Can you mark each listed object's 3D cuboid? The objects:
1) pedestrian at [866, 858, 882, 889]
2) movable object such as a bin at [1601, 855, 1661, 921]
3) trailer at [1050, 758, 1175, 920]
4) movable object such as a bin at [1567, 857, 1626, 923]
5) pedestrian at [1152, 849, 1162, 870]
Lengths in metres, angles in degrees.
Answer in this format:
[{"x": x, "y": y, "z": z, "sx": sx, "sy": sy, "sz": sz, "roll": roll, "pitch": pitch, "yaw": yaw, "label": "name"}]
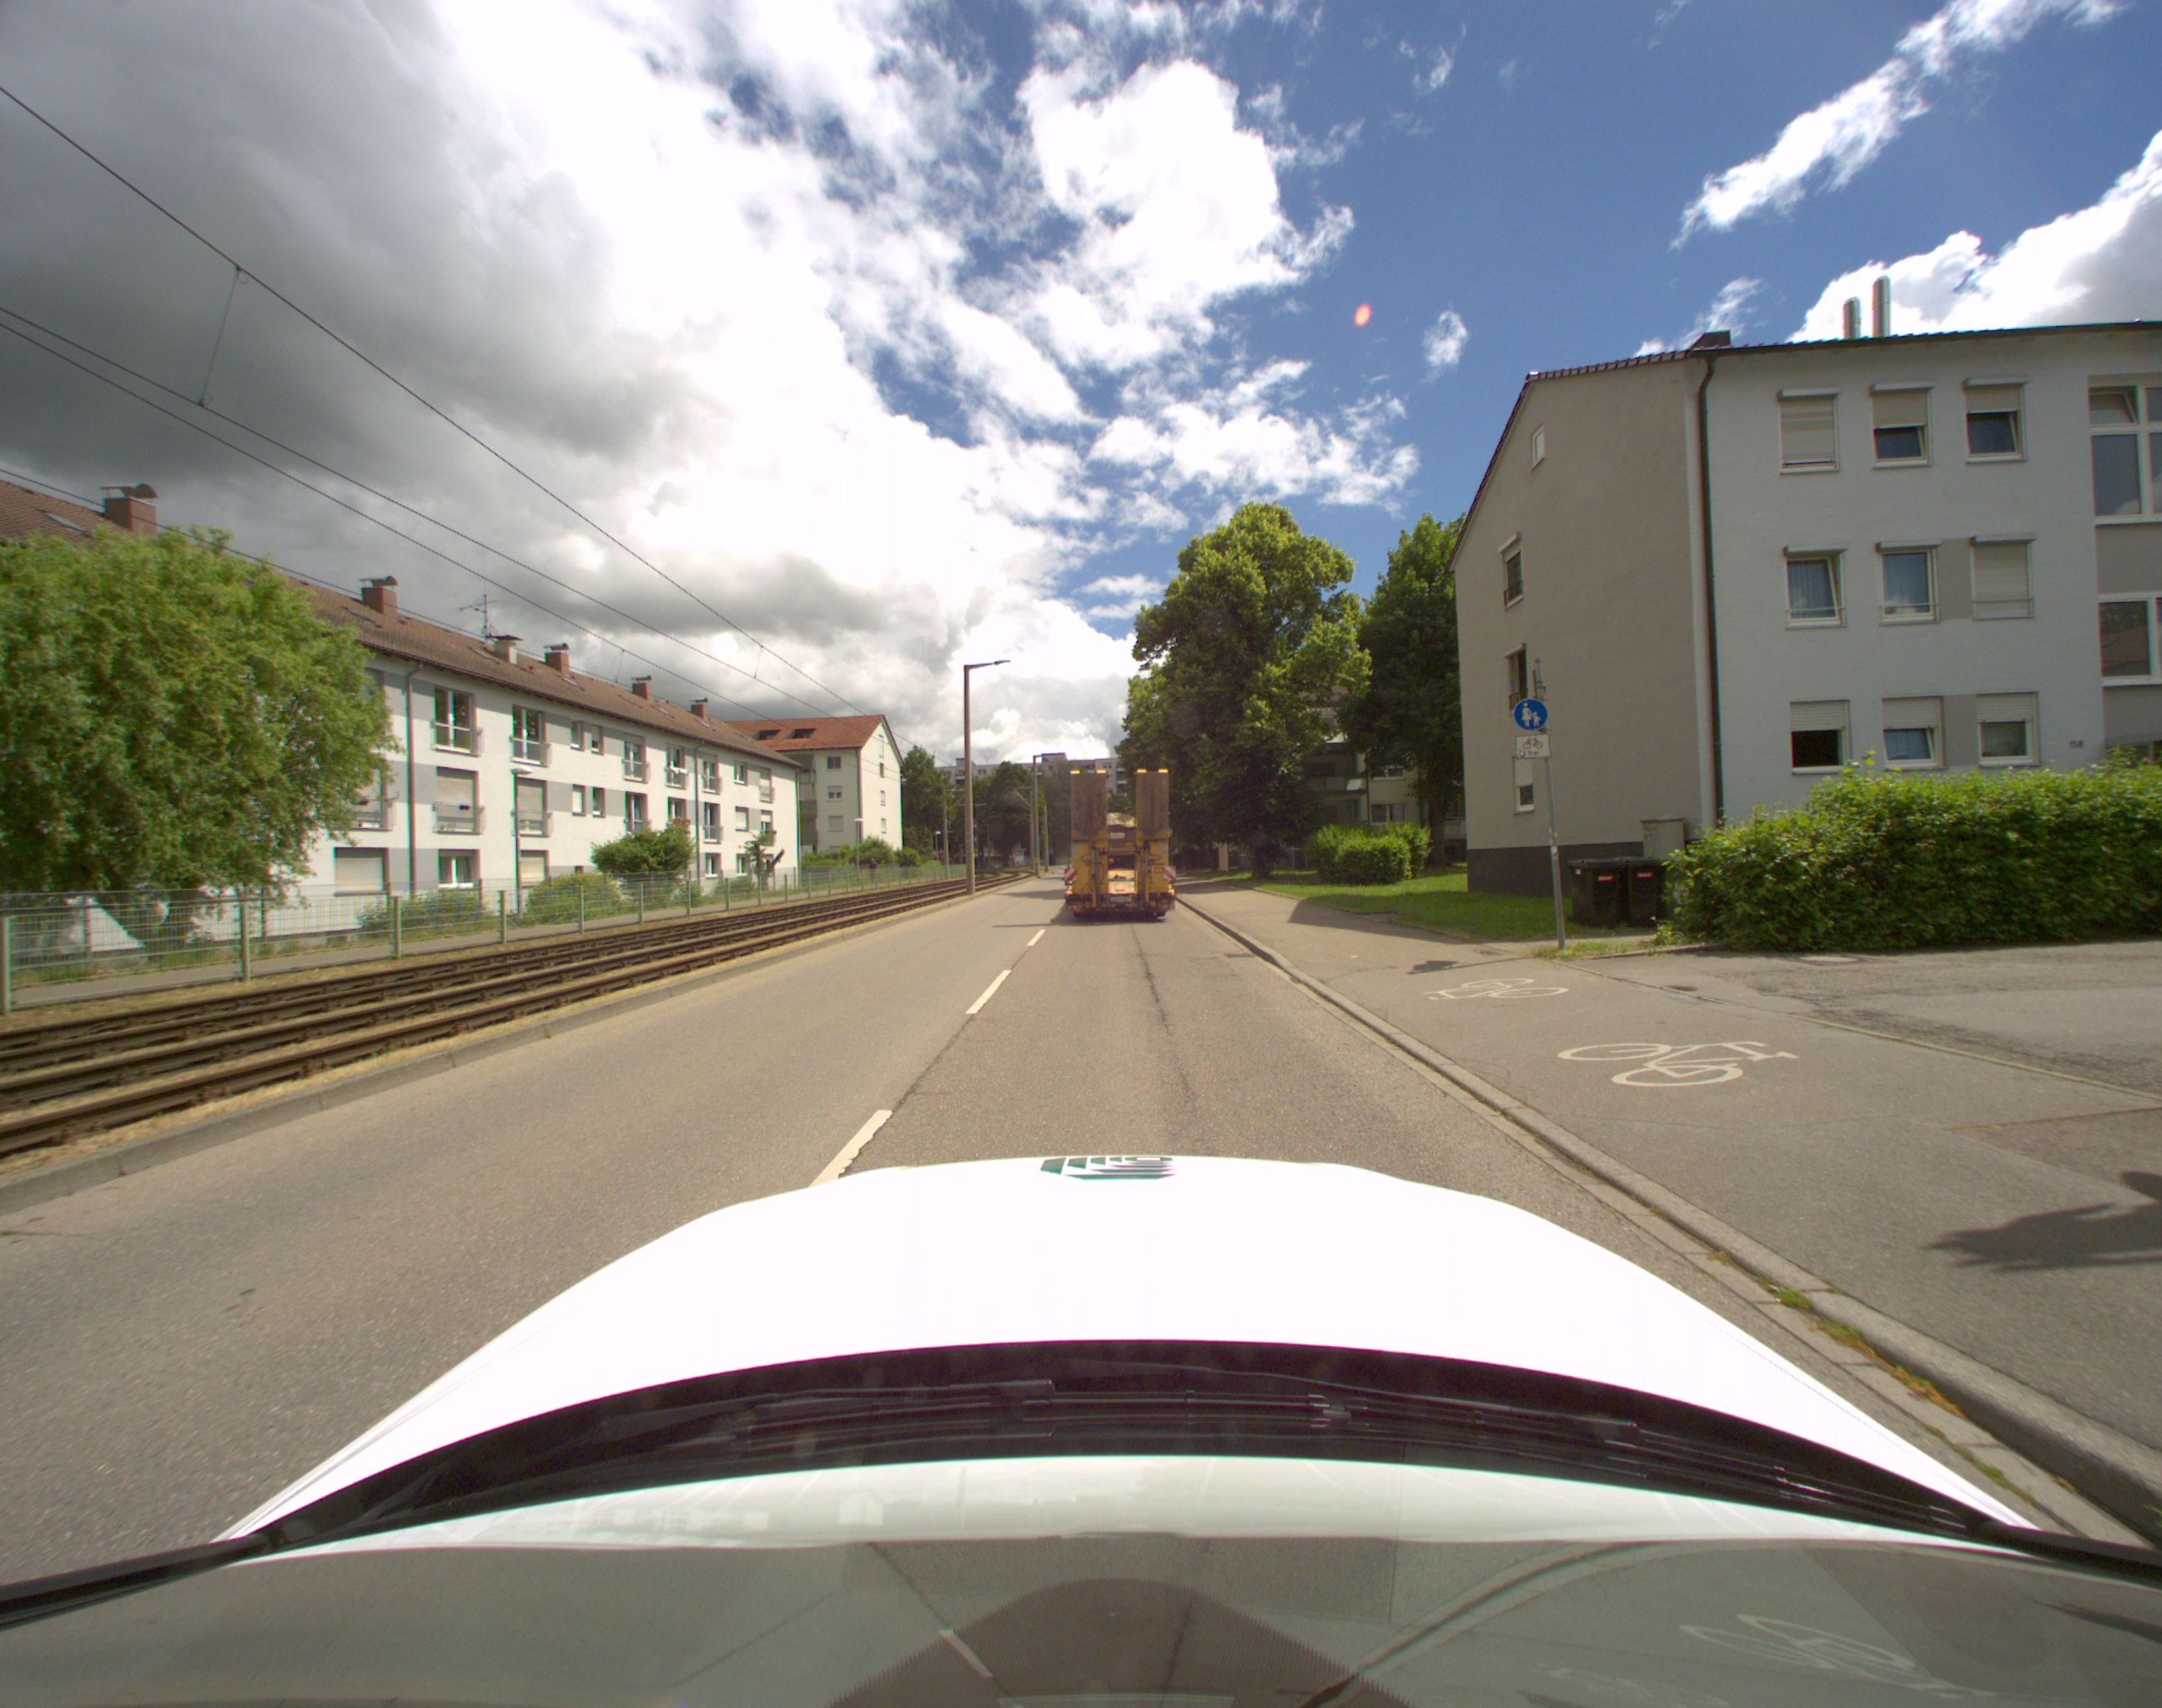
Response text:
[{"x": -12.549, "y": 1.187, "z": 49.388, "sx": 0.656, "sy": 1.849, "sz": 0.769, "roll": -3, "pitch": 0, "yaw": 2, "label": "pedestrian"}, {"x": 8.398, "y": 0.508, "z": 12.446, "sx": 0.498, "sy": 0.947, "sz": 0.551, "roll": -3, "pitch": 0, "yaw": 2, "label": "movable object such as a bin"}, {"x": 0.809, "y": -0.332, "z": 24.683, "sx": 2.817, "sy": 3.646, "sz": 12.355, "roll": 0, "pitch": 0, "yaw": 1, "label": "trailer"}, {"x": 7.814, "y": 0.533, "z": 12.366, "sx": 0.494, "sy": 0.955, "sz": 0.580, "roll": -3, "pitch": 0, "yaw": 2, "label": "movable object such as a bin"}, {"x": 6.596, "y": 0.477, "z": 70.581, "sx": 0.715, "sy": 1.706, "sz": 0.766, "roll": -3, "pitch": 0, "yaw": 2, "label": "pedestrian"}]
